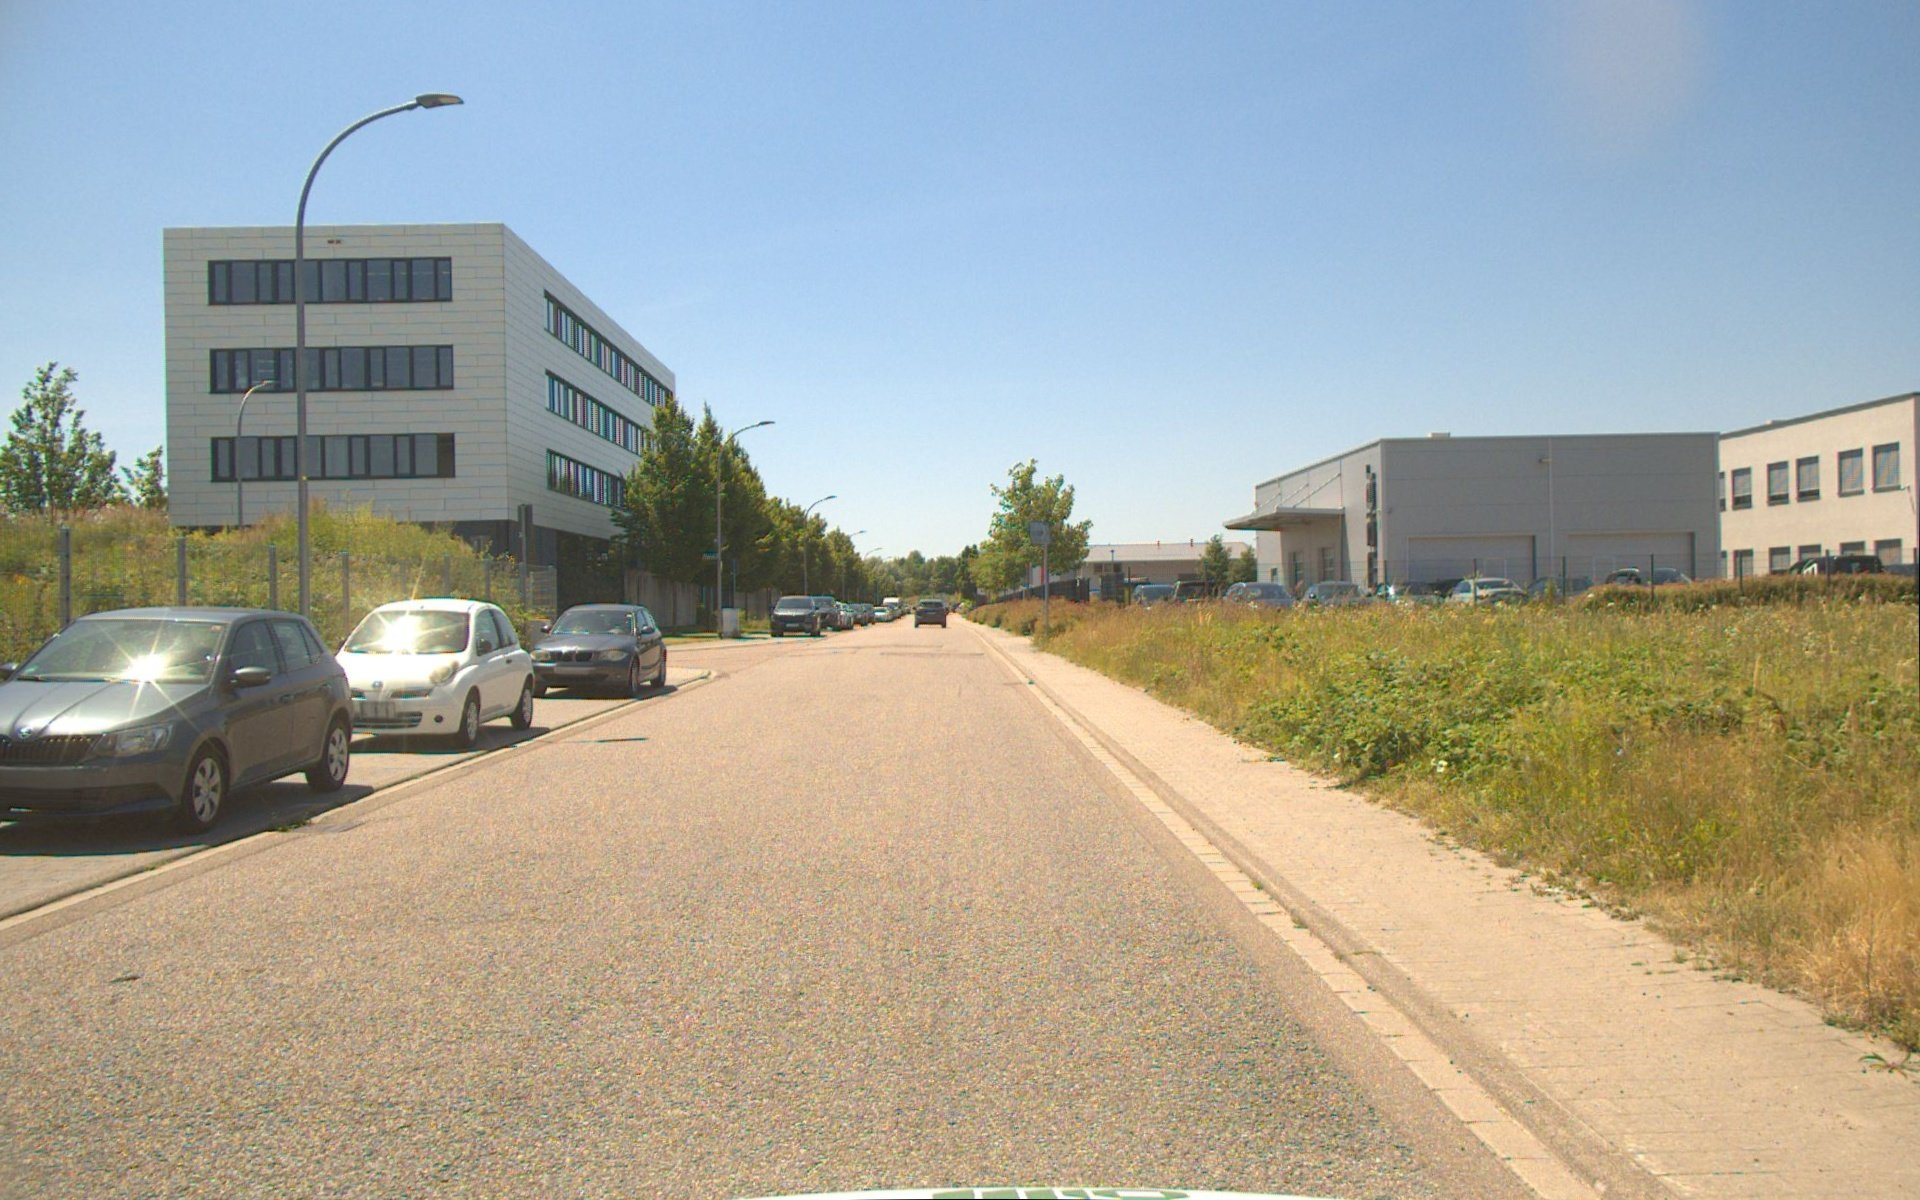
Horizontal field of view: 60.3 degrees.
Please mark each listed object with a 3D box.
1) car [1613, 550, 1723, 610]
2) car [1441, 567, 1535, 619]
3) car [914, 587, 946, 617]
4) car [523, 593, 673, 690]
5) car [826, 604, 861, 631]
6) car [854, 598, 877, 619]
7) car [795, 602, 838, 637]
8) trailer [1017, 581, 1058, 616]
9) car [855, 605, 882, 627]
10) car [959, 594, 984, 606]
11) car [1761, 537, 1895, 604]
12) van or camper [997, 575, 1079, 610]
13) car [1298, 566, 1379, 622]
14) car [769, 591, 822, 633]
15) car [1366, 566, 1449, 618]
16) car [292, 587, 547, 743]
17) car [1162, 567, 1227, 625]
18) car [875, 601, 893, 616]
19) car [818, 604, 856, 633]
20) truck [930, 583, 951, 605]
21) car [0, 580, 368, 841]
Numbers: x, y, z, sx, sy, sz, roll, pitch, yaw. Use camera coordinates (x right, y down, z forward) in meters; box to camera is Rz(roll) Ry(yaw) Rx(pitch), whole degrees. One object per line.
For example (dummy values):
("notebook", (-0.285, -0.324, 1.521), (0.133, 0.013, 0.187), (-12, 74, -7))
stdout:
("car", (20.958, -0.555, 49.104), (1.484, 1.662, 3.782), (-2, 0, -2))
("car", (15.454, -0.197, 48.593), (1.484, 1.421, 3.539), (-2, 0, -2))
("car", (-1.703, 0.115, 93.224), (1.753, 1.652, 3.808), (1, 0, -1))
("car", (-5.898, 0.652, 27.388), (1.640, 1.476, 4.068), (0, 0, -1))
("car", (-6.434, 0.981, 91.727), (1.735, 1.456, 3.939), (0, 0, -1))
("car", (-7.573, 0.699, 132.992), (1.735, 1.640, 4.245), (-1, 0, -2))
("car", (-6.887, 0.913, 79.948), (1.735, 1.652, 4.581), (0, 0, -1))
("trailer", (5.721, -0.100, 121.949), (2.767, 2.445, 1.418), (-3, 0, -5))
("car", (-6.325, 1.097, 114.896), (1.735, 1.456, 4.200), (0, 0, -1))
("car", (1.788, 0.061, 255.318), (3.798, 1.780, 1.750), (1, 0, -3))
("car", (26.043, -0.845, 49.785), (1.713, 1.879, 4.124), (-2, 0, -2))
("van or camper", (6.454, -0.614, 138.133), (6.621, 2.630, 2.635), (-2, 0, -2))
("car", (11.113, -0.161, 48.753), (1.484, 1.522, 3.330), (-2, 0, -2))
("car", (-6.642, 0.492, 67.014), (1.735, 1.615, 4.480), (-1, 0, -1))
("car", (13.241, -0.226, 49.117), (1.428, 1.437, 3.330), (-2, 0, -2))
("car", (-5.877, 0.664, 18.432), (1.640, 1.557, 3.757), (0, 0, -1))
("car", (6.775, -0.106, 47.998), (1.437, 1.601, 2.661), (-2, 0, -1))
("car", (-7.557, 0.863, 164.578), (1.686, 1.502, 3.855), (-1, 0, -3))
("car", (-6.441, 0.956, 87.013), (1.735, 1.456, 4.200), (0, 0, -1))
("truck", (-2.792, -0.844, 237.454), (2.873, 3.026, 6.418), (1, 0, 0))
("car", (-5.749, 0.674, 11.881), (1.640, 1.557, 3.909), (0, 0, -1))
